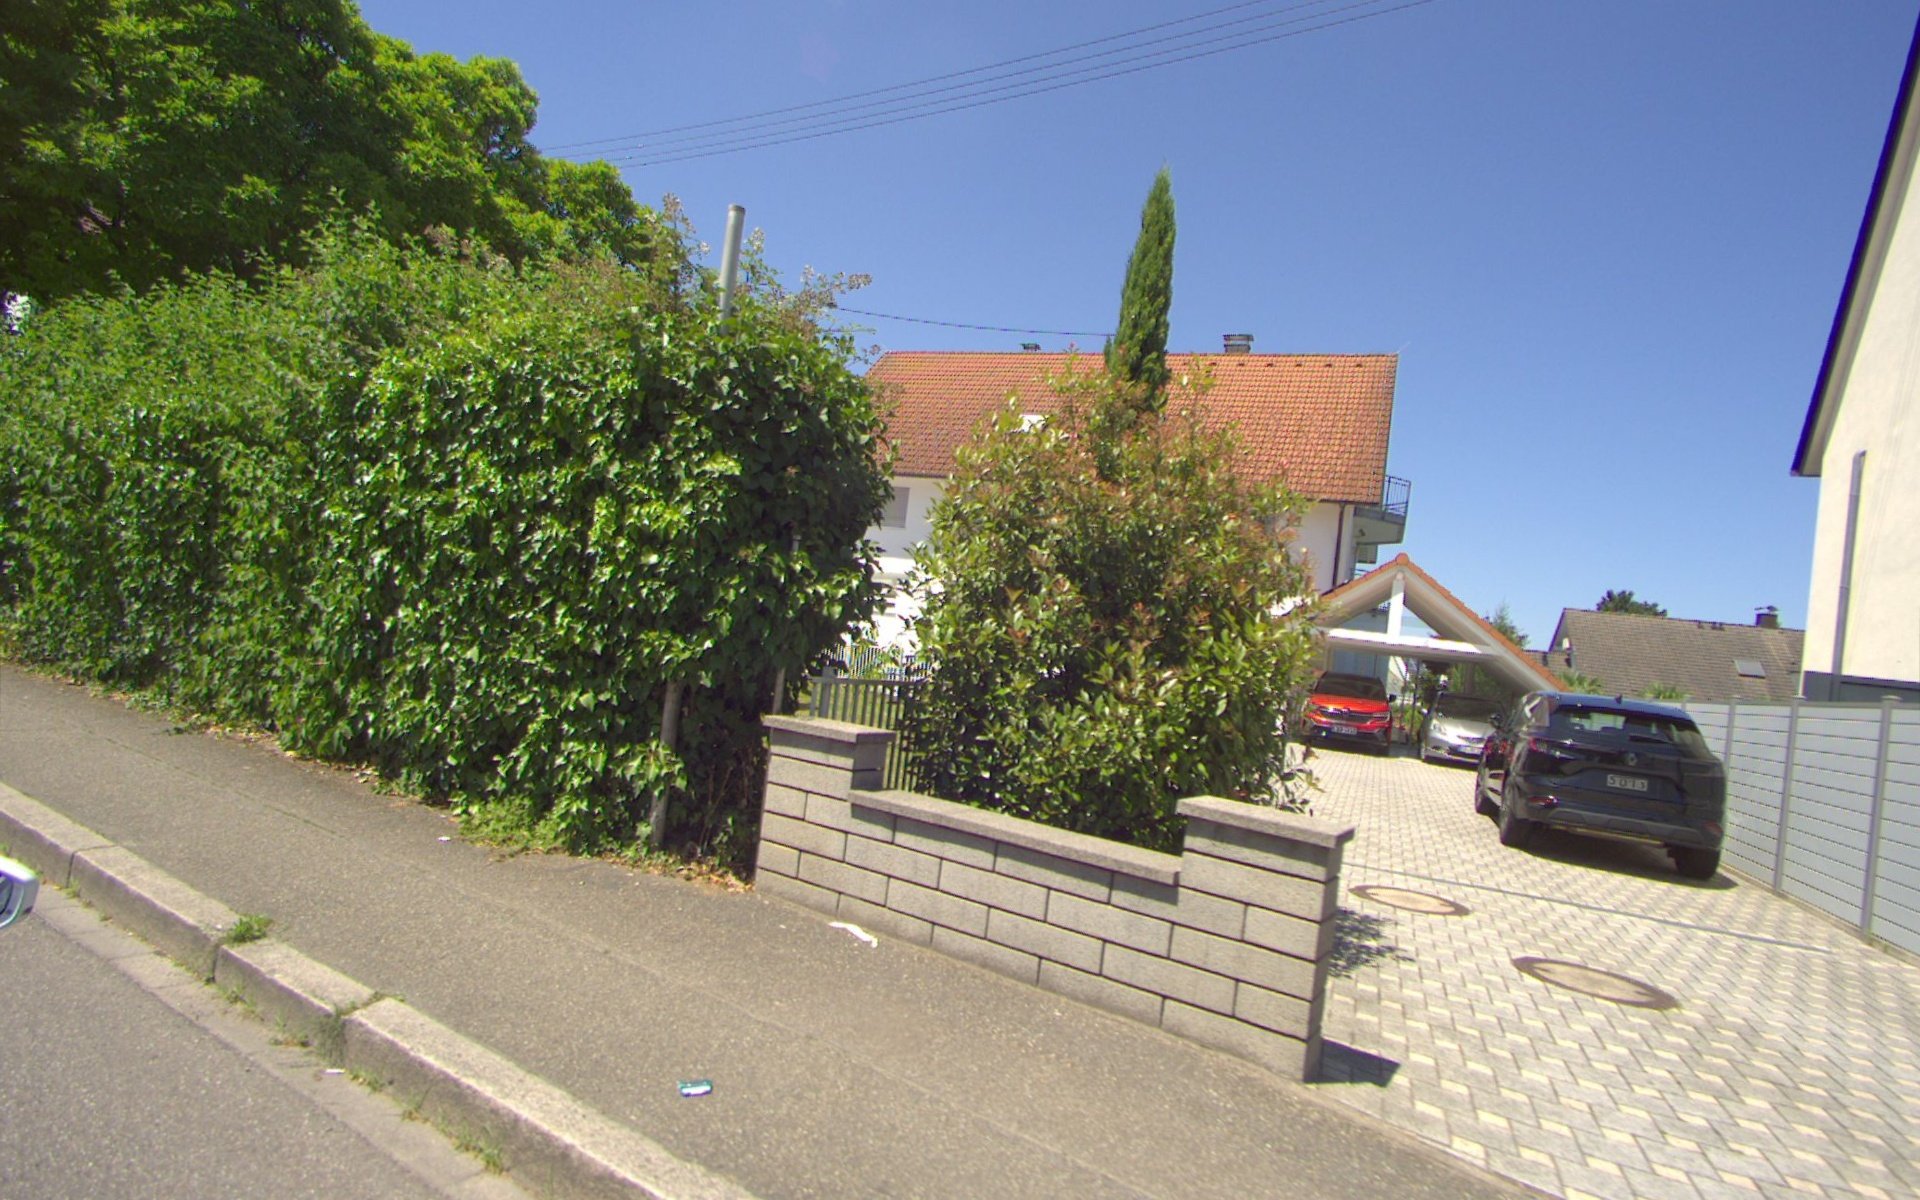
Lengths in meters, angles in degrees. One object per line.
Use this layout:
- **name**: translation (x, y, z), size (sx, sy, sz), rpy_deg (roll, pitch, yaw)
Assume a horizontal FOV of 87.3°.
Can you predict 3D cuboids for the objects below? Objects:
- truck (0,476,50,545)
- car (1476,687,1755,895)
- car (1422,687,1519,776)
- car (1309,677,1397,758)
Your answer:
- **truck**: translation (-35.098, -3.559, 33.582), size (1.943, 2.191, 6.640), rpy_deg (8, -3, 22)
- **car**: translation (6.865, 1.863, 11.009), size (1.768, 1.587, 4.000), rpy_deg (7, -2, 24)
- **car**: translation (10.504, 2.646, 20.881), size (1.463, 1.483, 3.625), rpy_deg (6, -2, 24)
- **car**: translation (8.508, 2.460, 21.644), size (1.463, 1.405, 3.469), rpy_deg (6, -2, 24)
